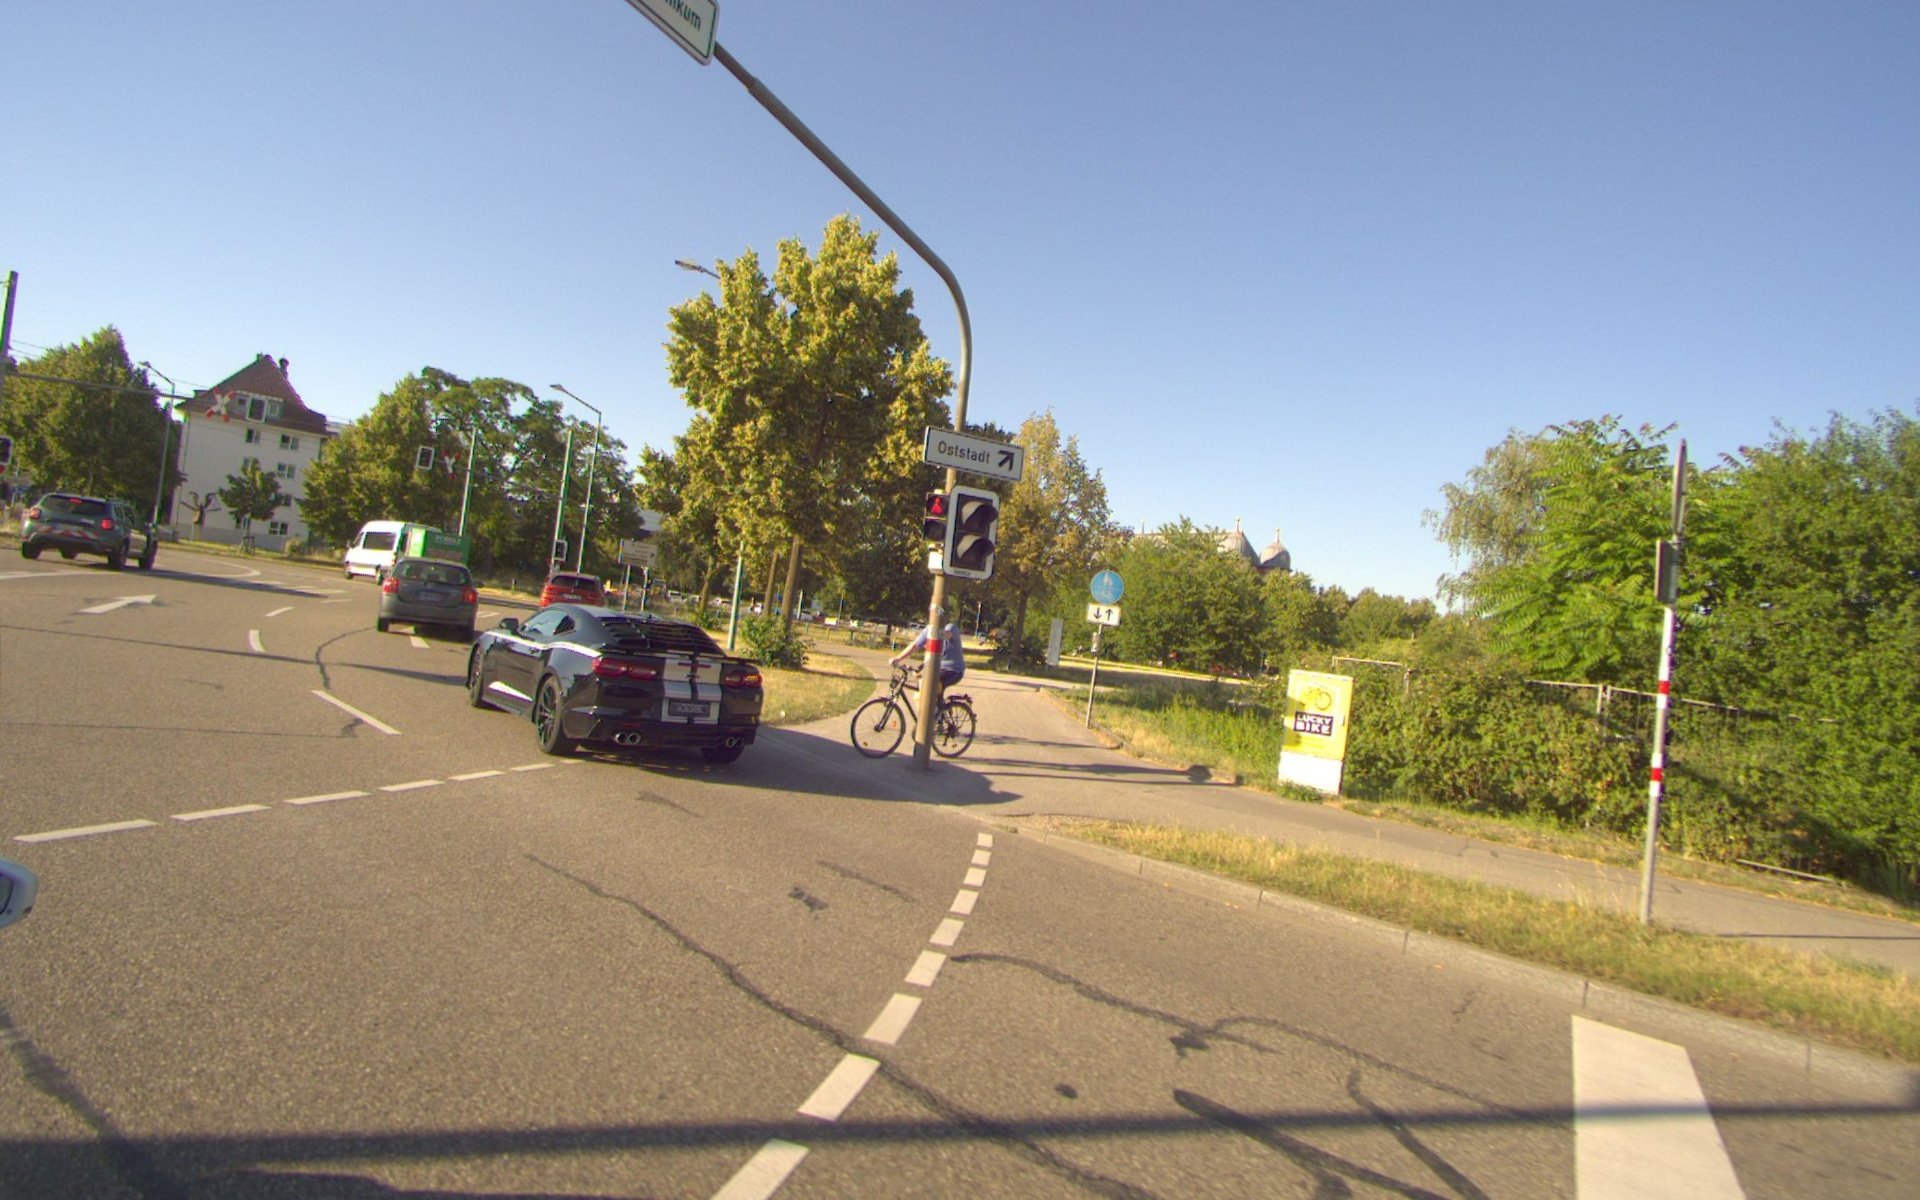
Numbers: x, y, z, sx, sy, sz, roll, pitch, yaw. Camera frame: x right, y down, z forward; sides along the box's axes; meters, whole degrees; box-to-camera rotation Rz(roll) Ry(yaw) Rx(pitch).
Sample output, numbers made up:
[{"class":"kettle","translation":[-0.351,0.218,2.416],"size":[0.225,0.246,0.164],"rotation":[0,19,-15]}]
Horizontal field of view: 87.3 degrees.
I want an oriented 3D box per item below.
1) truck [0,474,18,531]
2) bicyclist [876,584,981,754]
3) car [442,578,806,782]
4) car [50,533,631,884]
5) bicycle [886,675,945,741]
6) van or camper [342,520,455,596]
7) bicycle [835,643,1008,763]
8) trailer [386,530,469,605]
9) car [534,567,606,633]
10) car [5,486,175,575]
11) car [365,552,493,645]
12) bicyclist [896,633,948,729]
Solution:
[{"class":"truck","translation":[-48.354,-5.032,46.870],"size":[6.137,2.588,2.589],"rotation":[7,-1,-1]},{"class":"bicyclist","translation":[-0.382,0.827,12.091],"size":[0.927,1.922,0.597],"rotation":[6,0,-26]},{"class":"car","translation":[-3.662,0.709,10.361],"size":[1.848,1.353,4.572],"rotation":[9,-2,-41]},{"class":"car","translation":[-4.420,0.594,7.066],"size":[3.931,1.629,1.606],"rotation":[7,-1,29]},{"class":"bicycle","translation":[-0.614,1.520,14.365],"size":[0.431,0.796,1.465],"rotation":[7,-1,11]},{"class":"van or camper","translation":[-23.946,-1.837,42.761],"size":[6.500,2.658,2.281],"rotation":[5,-3,45]},{"class":"bicycle","translation":[-0.451,1.242,12.081],"size":[1.886,1.259,0.605],"rotation":[6,0,-26]},{"class":"trailer","translation":[-20.208,-1.224,38.126],"size":[2.080,2.427,3.468],"rotation":[9,-3,-36]},{"class":"car","translation":[-11.748,-0.014,30.417],"size":[1.729,1.639,3.803],"rotation":[9,-2,-20]},{"class":"car","translation":[-20.907,-1.582,24.392],"size":[1.887,1.679,3.979],"rotation":[8,-2,-24]},{"class":"car","translation":[-10.533,-0.048,20.205],"size":[1.730,1.490,3.801],"rotation":[8,-2,-22]},{"class":"bicyclist","translation":[-0.542,1.153,14.497],"size":[0.457,1.310,0.651],"rotation":[7,0,11]}]
